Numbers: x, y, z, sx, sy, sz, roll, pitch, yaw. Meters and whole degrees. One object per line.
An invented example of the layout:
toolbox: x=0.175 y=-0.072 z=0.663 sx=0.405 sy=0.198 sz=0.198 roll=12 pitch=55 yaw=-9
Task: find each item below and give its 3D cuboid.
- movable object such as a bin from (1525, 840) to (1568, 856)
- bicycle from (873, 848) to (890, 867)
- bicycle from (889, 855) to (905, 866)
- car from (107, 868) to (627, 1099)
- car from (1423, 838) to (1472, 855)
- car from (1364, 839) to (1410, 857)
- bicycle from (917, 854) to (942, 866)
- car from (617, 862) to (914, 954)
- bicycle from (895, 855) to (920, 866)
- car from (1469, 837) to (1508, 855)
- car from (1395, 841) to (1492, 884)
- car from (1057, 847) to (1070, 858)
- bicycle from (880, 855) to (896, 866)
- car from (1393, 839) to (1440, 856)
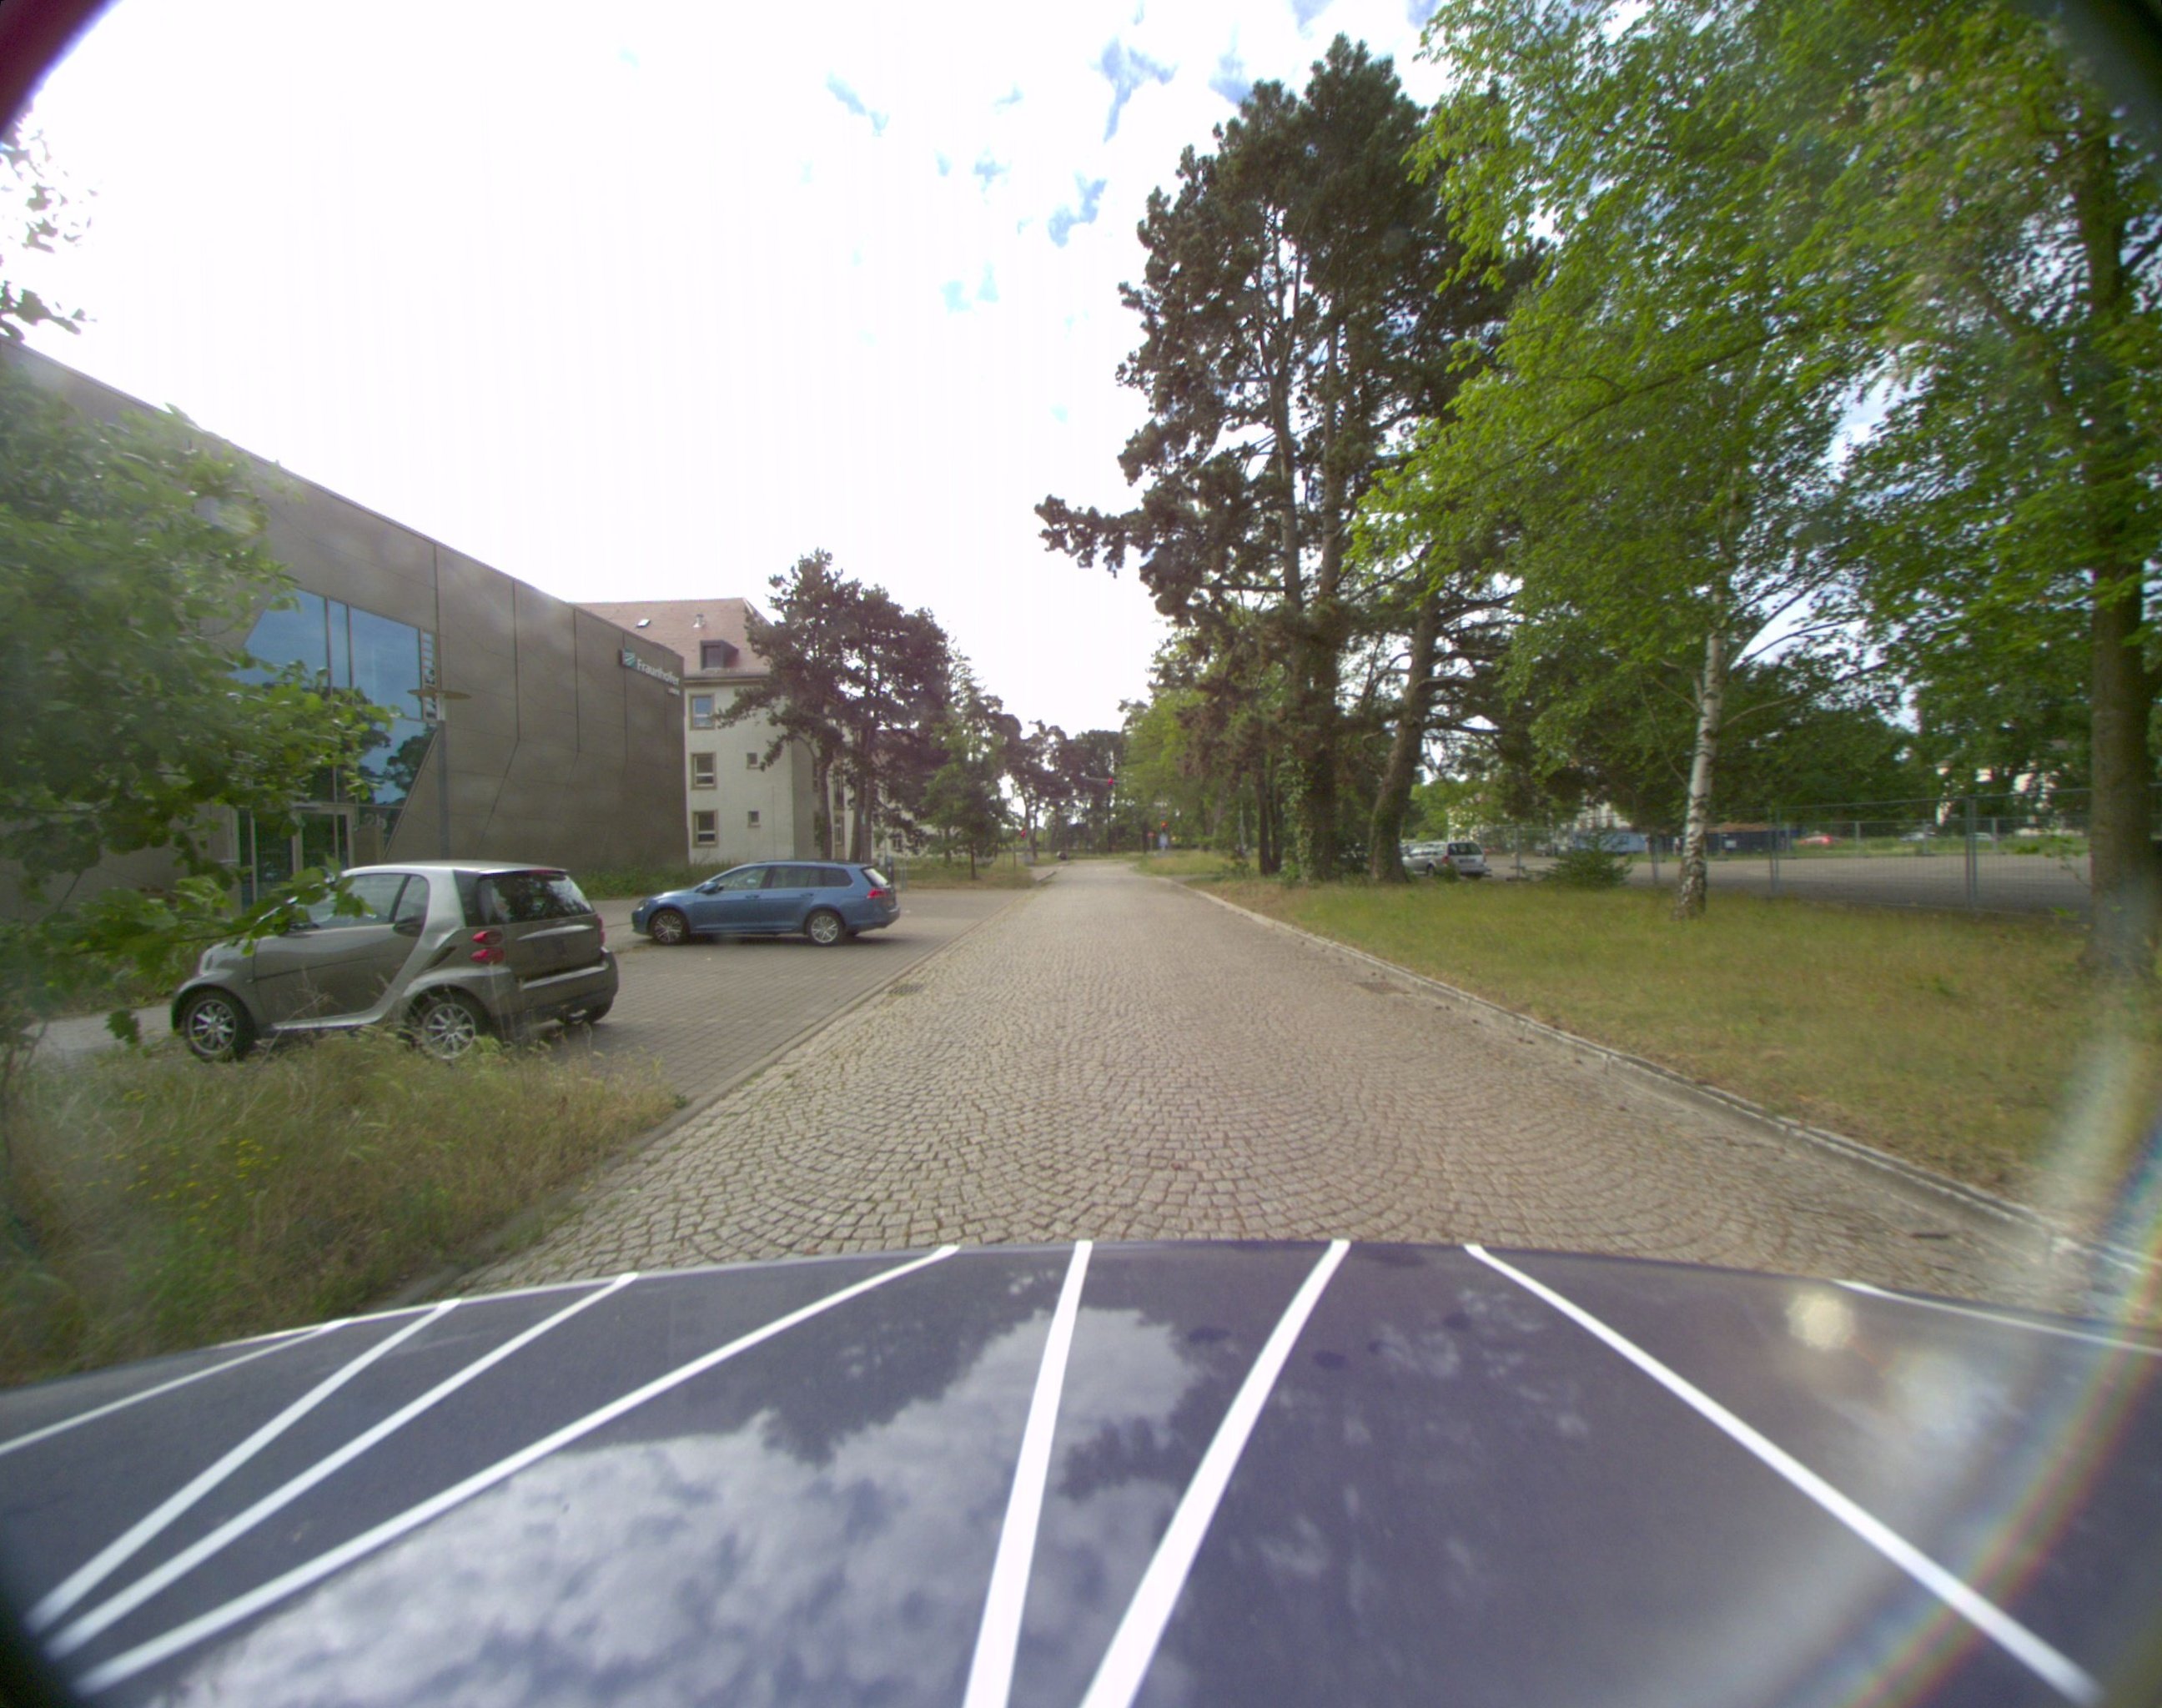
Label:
movable object such as a bin: x=32.603 y=-0.423 z=53.275 sx=1.057 sy=1.065 sz=2.719 roll=-1 pitch=1 yaw=-8
bicycle: x=-19.352 y=0.314 z=73.606 sx=0.905 sy=1.722 sz=2.199 roll=-1 pitch=1 yaw=4
bicycle: x=-17.740 y=0.615 z=73.245 sx=0.799 sy=1.051 sz=2.166 roll=-1 pitch=1 yaw=4
car: x=-5.663 y=0.950 z=6.327 sx=2.748 sy=1.573 sz=1.682 roll=1 pitch=1 yaw=1
car: x=31.788 y=-0.668 z=66.091 sx=1.999 sy=1.441 sz=4.451 roll=-1 pitch=1 yaw=-2
car: x=26.316 y=-0.498 z=65.548 sx=1.999 sy=1.441 sz=4.451 roll=-1 pitch=1 yaw=-2
bicycle: x=-14.384 y=0.527 z=72.062 sx=2.164 sy=1.089 sz=0.717 roll=-1 pitch=1 yaw=-2
car: x=-5.513 y=0.926 z=13.738 sx=4.537 sy=1.441 sz=1.931 roll=1 pitch=1 yaw=-1
bicycle: x=-16.465 y=0.604 z=72.152 sx=2.164 sy=1.051 sz=0.717 roll=-1 pitch=1 yaw=-2
car: x=40.791 y=-0.782 z=76.096 sx=1.611 sy=1.674 sz=3.803 roll=-1 pitch=1 yaw=-4
car: x=13.114 y=0.267 z=27.704 sx=1.670 sy=1.402 sz=3.722 roll=-1 pitch=1 yaw=-1
car: x=-2.958 y=-0.305 z=129.199 sx=1.999 sy=1.777 sz=3.997 roll=-1 pitch=1 yaw=-5
bicycle: x=-18.589 y=0.636 z=73.267 sx=0.799 sy=1.051 sz=2.199 roll=-1 pitch=1 yaw=4
car: x=28.898 y=-0.574 z=65.607 sx=1.999 sy=1.441 sz=4.451 roll=-1 pitch=1 yaw=-2
